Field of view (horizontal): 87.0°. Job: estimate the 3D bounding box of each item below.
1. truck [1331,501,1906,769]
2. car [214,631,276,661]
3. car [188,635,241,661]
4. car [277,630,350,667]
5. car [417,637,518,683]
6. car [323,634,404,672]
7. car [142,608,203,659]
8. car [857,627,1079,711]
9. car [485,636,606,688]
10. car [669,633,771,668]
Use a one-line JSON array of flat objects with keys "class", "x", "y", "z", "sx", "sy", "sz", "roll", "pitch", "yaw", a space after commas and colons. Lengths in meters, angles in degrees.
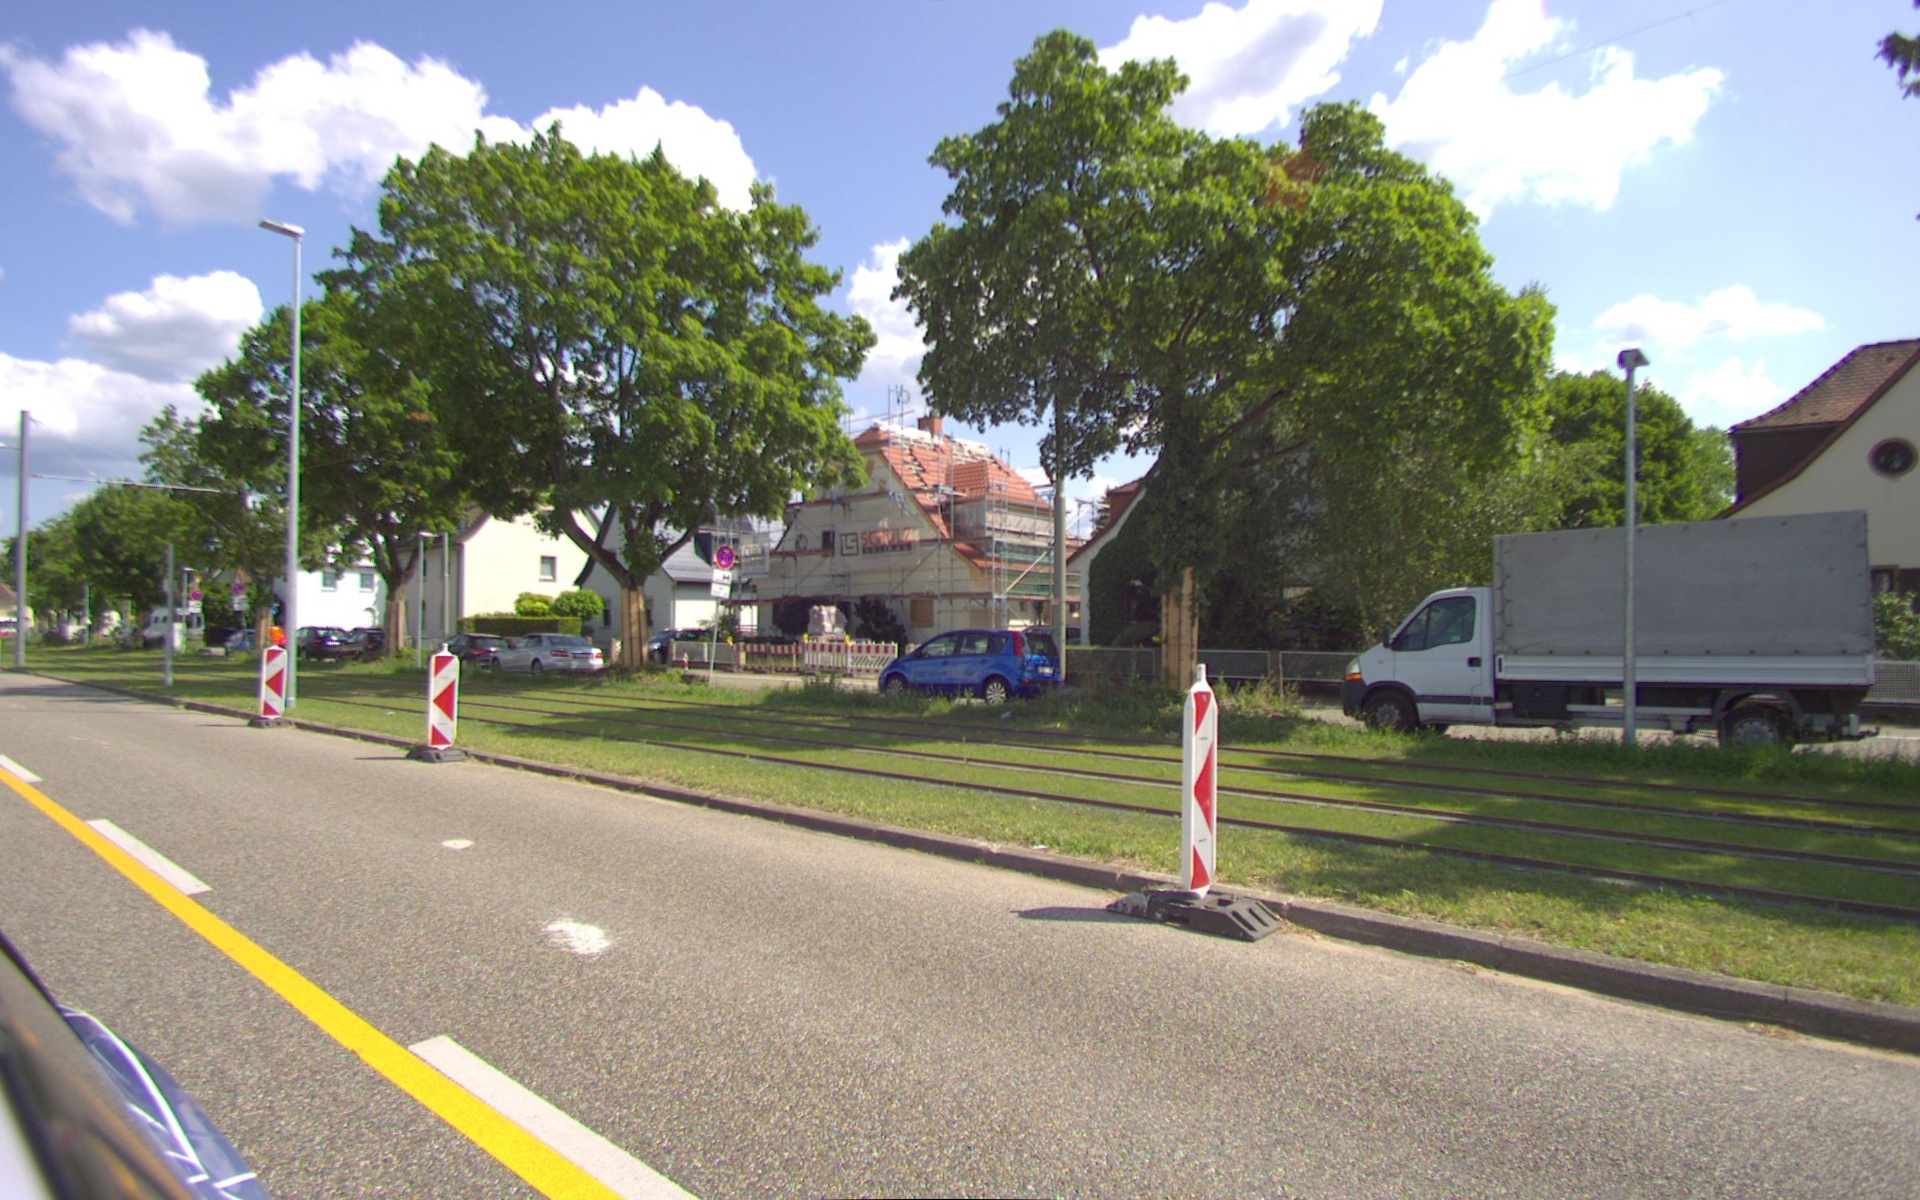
[{"class": "truck", "x": 8.308, "y": 0.455, "z": 13.396, "sx": 5.971, "sy": 2.802, "sz": 2.242, "roll": -2, "pitch": -3, "yaw": 41}, {"class": "car", "x": -37.483, "y": 2.425, "z": 53.045, "sx": 4.403, "sy": 1.497, "sz": 1.680, "roll": -3, "pitch": -3, "yaw": 41}, {"class": "car", "x": -44.466, "y": 2.871, "z": 60.326, "sx": 4.403, "sy": 1.497, "sz": 1.680, "roll": -3, "pitch": -3, "yaw": 41}, {"class": "car", "x": -29.431, "y": 2.219, "z": 46.022, "sx": 4.403, "sy": 1.584, "sz": 1.680, "roll": -3, "pitch": -3, "yaw": 41}, {"class": "car", "x": -17.511, "y": 2.117, "z": 35.888, "sx": 4.403, "sy": 1.497, "sz": 1.680, "roll": -3, "pitch": -3, "yaw": 41}, {"class": "car", "x": -25.170, "y": 2.251, "z": 42.646, "sx": 4.403, "sy": 1.497, "sz": 1.680, "roll": -3, "pitch": -3, "yaw": 41}, {"class": "car", "x": -49.505, "y": 2.157, "z": 63.603, "sx": 5.080, "sy": 3.061, "sz": 2.108, "roll": -3, "pitch": -3, "yaw": 41}, {"class": "car", "x": 0.068, "y": 1.351, "z": 20.266, "sx": 4.403, "sy": 1.497, "sz": 1.680, "roll": -3, "pitch": -3, "yaw": 41}, {"class": "car", "x": -13.111, "y": 1.931, "z": 31.852, "sx": 4.520, "sy": 1.497, "sz": 1.765, "roll": -4, "pitch": -3, "yaw": 42}, {"class": "car", "x": -10.916, "y": 2.290, "z": 46.205, "sx": 1.702, "sy": 1.497, "sz": 4.345, "roll": -3, "pitch": -3, "yaw": 41}]
